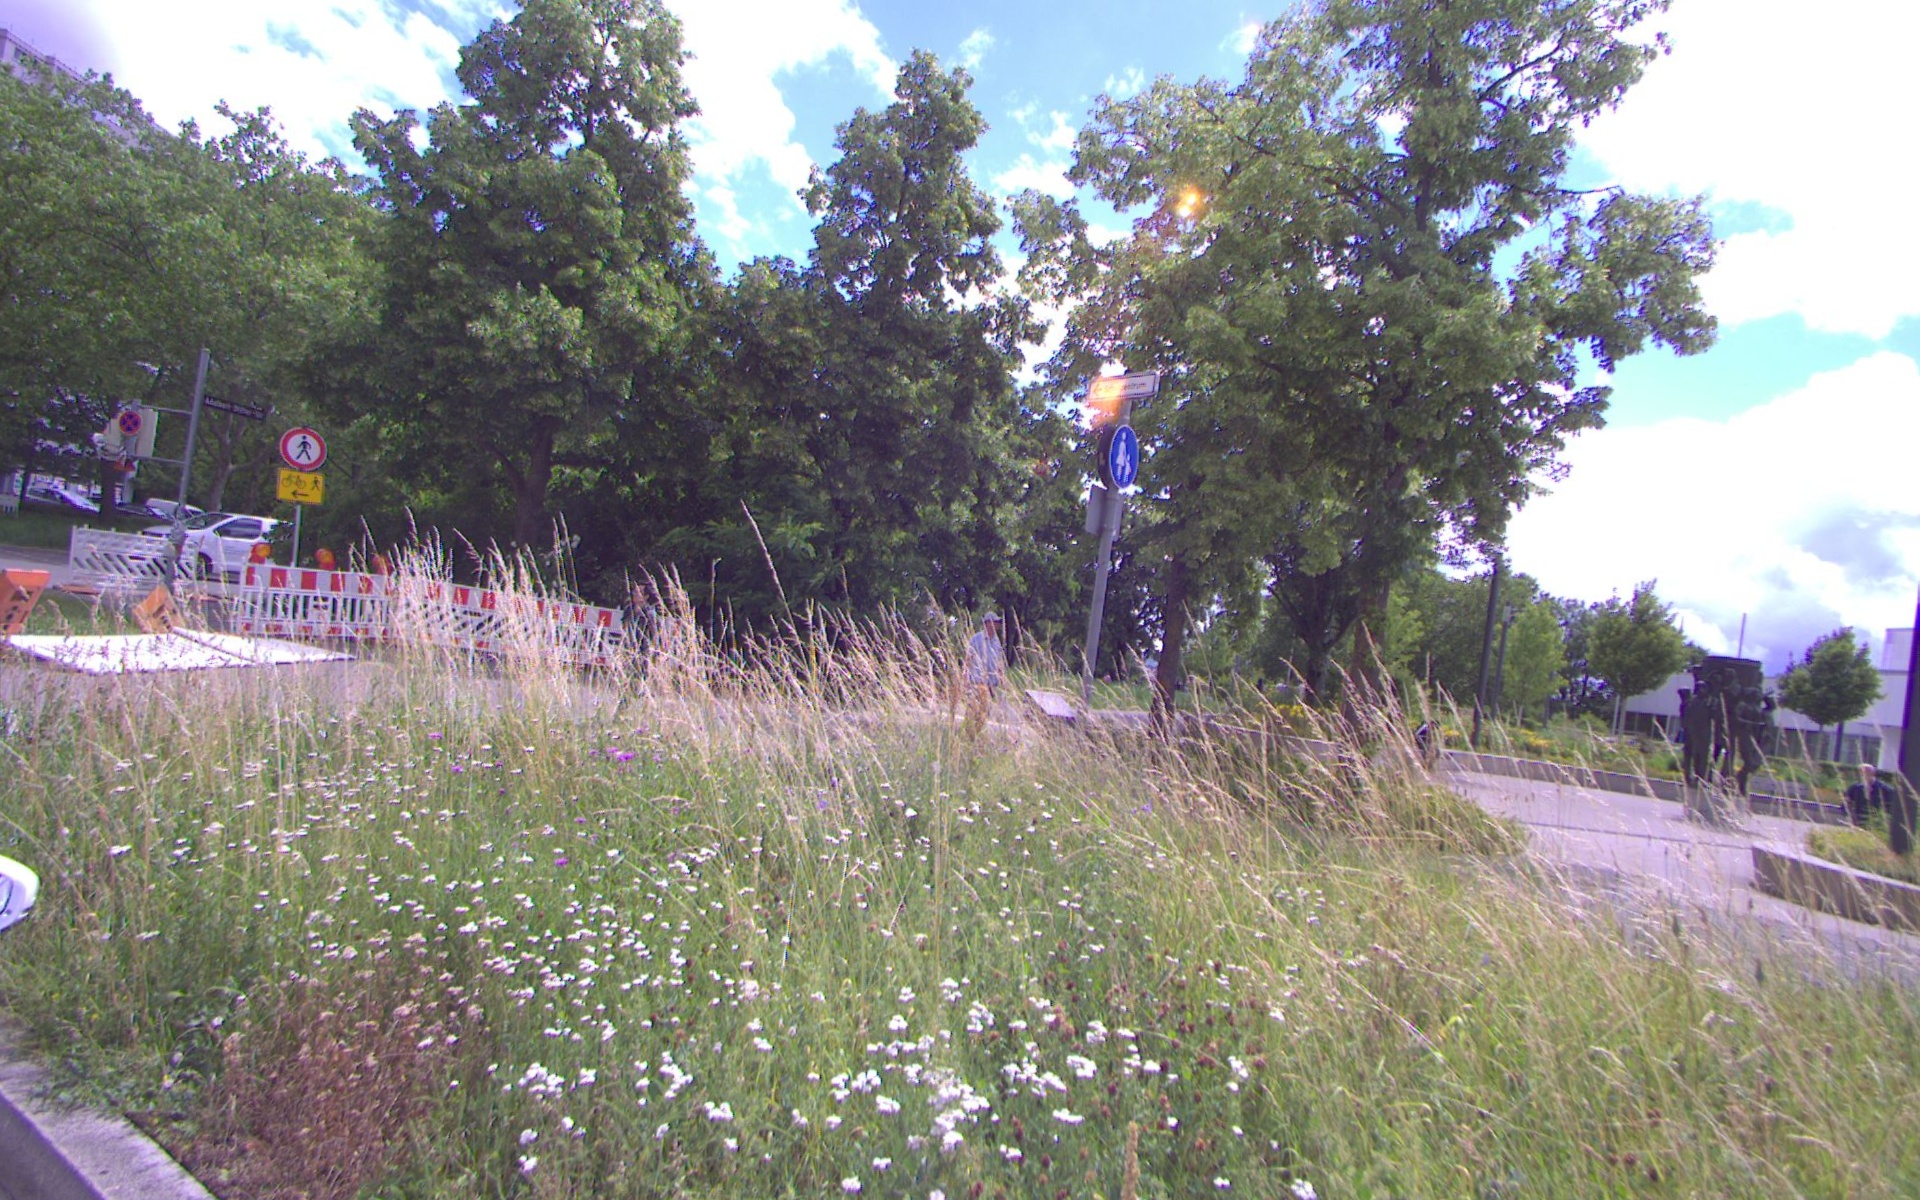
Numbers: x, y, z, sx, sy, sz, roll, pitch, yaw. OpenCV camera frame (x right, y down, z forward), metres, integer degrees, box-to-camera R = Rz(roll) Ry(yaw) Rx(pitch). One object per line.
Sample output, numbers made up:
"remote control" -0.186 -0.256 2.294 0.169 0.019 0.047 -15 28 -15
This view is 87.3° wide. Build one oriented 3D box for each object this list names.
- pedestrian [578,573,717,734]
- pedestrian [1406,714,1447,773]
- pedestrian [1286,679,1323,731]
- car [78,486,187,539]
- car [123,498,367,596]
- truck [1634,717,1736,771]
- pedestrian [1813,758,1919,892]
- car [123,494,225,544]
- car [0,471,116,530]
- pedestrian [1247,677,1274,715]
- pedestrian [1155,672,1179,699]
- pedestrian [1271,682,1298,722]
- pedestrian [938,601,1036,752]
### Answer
"pedestrian" -3.355 0.582 10.859 0.829 1.570 0.948 7 -1 28
"pedestrian" 10.749 3.304 23.167 0.623 1.236 0.618 7 -1 36
"pedestrian" 14.757 4.483 43.099 1.137 2.037 0.817 8 0 30
"car" -43.785 -4.604 53.286 3.926 2.037 2.001 8 -1 0
"car" -19.716 -1.387 28.049 1.915 1.895 5.090 7 -2 28
"truck" 37.321 7.393 51.916 1.965 2.037 3.999 8 -1 -4
"pedestrian" 12.800 3.147 14.199 0.750 1.644 0.773 8 -1 17
"car" -44.239 -4.531 56.689 3.926 2.037 2.001 8 -1 0
"car" -43.691 -4.780 48.570 3.926 2.037 2.001 8 -1 0
"pedestrian" 14.493 4.647 48.504 0.872 1.681 0.817 8 -1 30
"pedestrian" 13.060 5.388 63.456 1.135 1.571 0.818 8 -1 -2
"pedestrian" 15.431 4.851 47.841 0.879 1.732 0.817 8 -1 30
"pedestrian" 0.356 1.006 13.341 0.766 1.862 0.756 8 -1 -39
